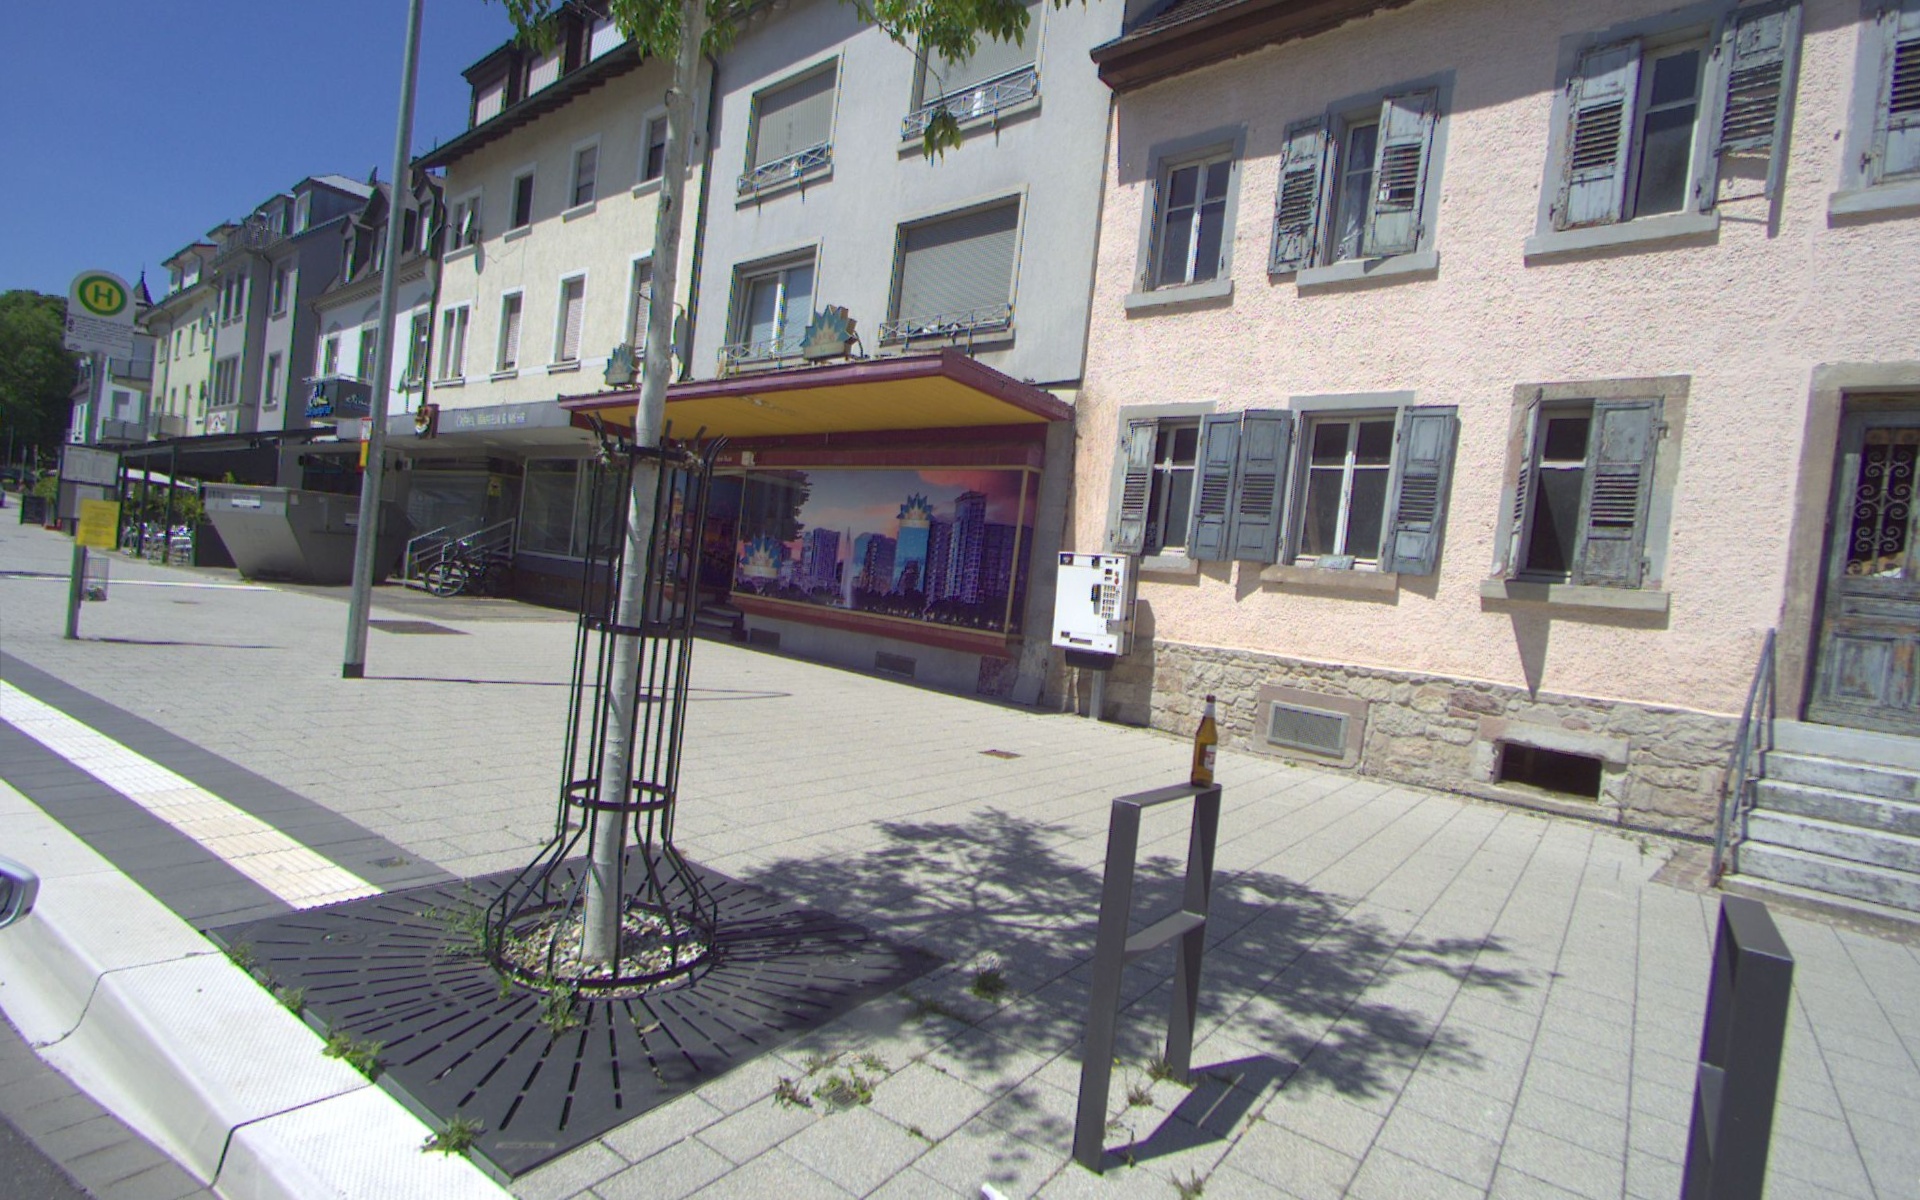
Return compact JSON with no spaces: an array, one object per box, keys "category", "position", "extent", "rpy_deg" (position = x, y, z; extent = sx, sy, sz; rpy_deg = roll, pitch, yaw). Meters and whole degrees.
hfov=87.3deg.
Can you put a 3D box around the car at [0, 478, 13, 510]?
[{"category":"car","position":[-47.447,-5.225,48.458],"extent":[1.858,1.511,3.826],"rpy_deg":[5,3,-32]}]

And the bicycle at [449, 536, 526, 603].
[{"category":"bicycle","position":[-9.678,-0.619,20.621],"extent":[1.264,1.198,0.410],"rpy_deg":[8,-1,-39]}]

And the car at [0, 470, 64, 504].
[{"category":"car","position":[-63.746,-7.759,68.296],"extent":[1.830,1.736,4.070],"rpy_deg":[8,-1,42]}]
